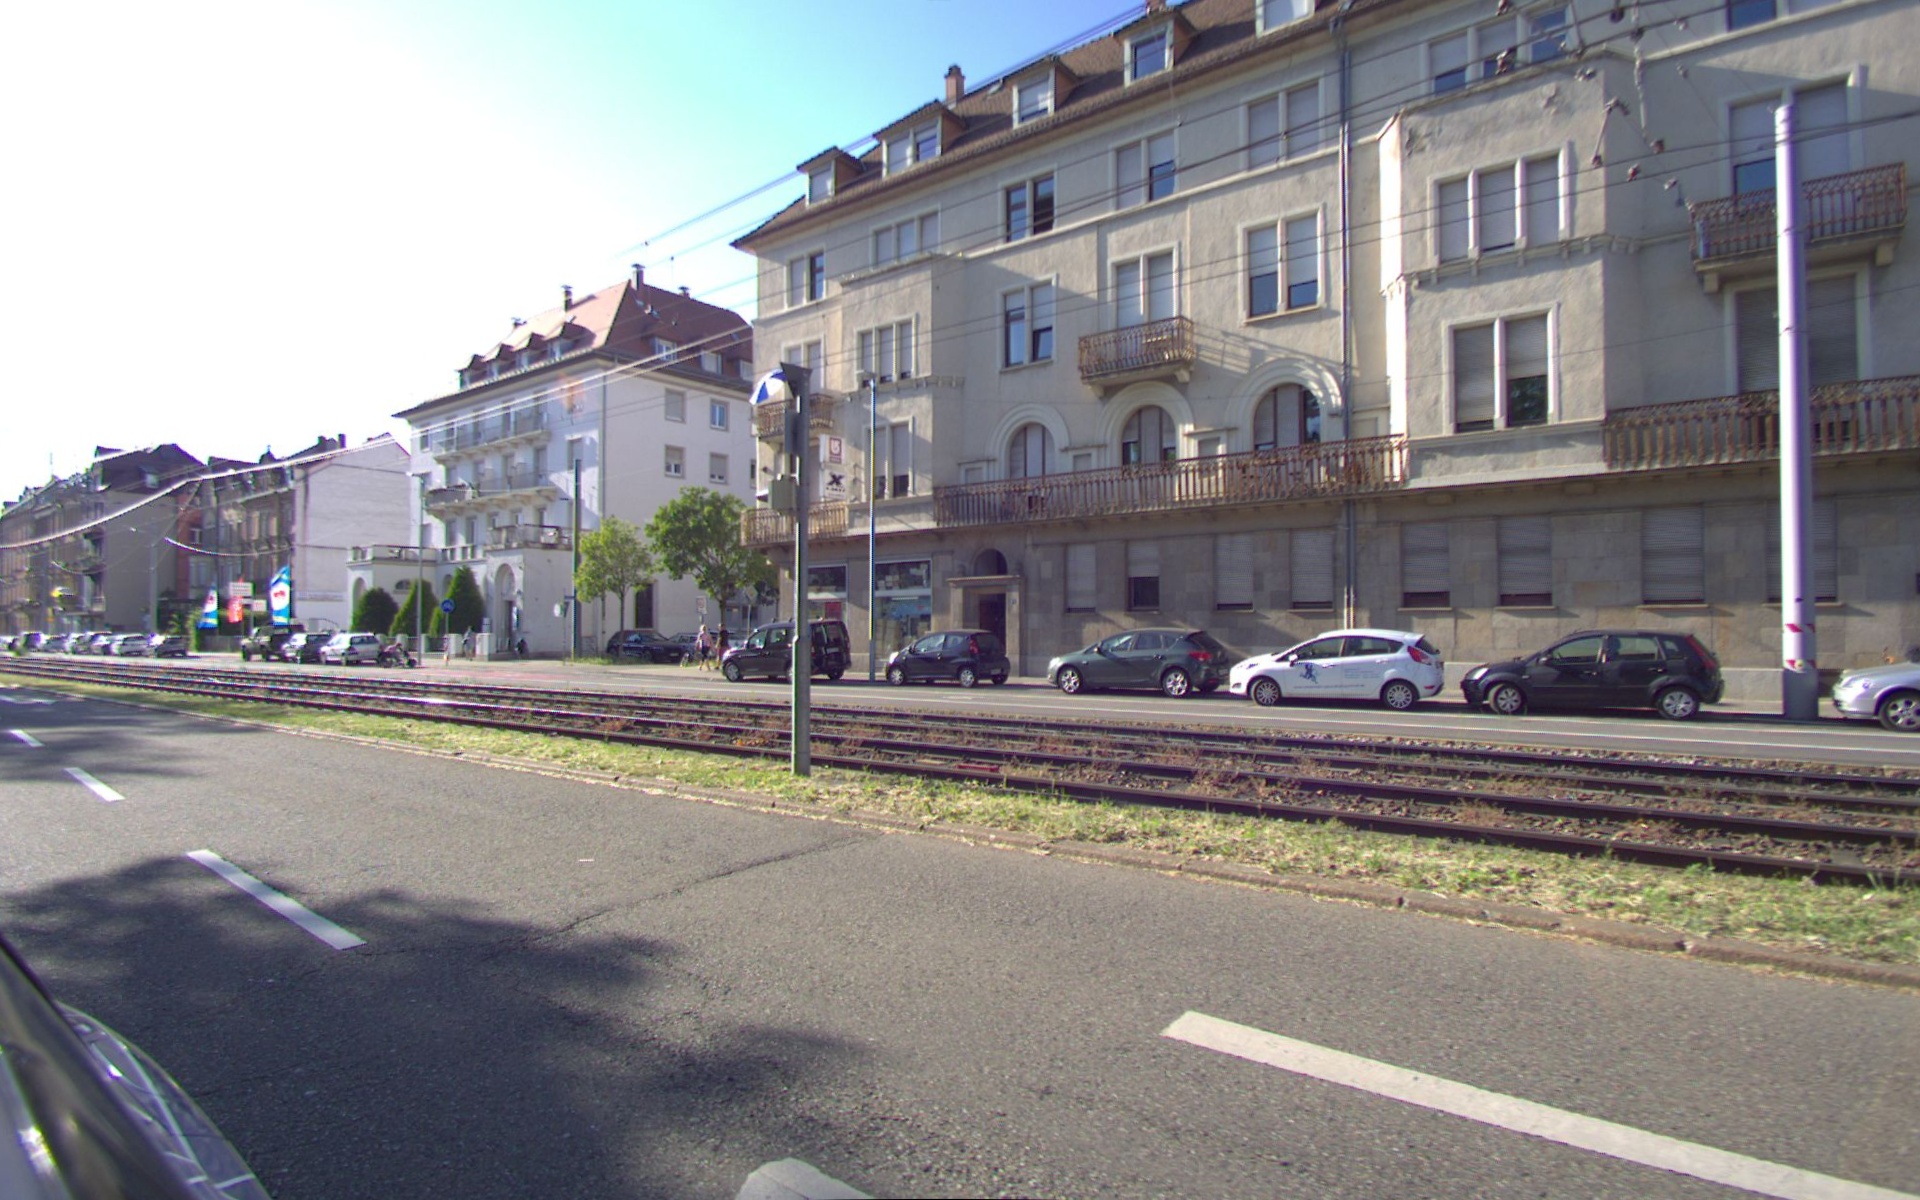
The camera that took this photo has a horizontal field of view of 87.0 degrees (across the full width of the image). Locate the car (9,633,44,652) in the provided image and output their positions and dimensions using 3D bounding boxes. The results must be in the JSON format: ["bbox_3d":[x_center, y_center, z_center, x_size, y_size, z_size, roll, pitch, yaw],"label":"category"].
[{"bbox_3d":[-90.089,4.094,97.634,4.720,1.821,1.644,-2,-1,37],"label":"car"}]

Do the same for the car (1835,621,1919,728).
[{"bbox_3d":[15.079,1.021,14.173,4.154,1.480,1.619,-3,-2,39],"label":"car"}]

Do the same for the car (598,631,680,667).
[{"bbox_3d":[-15.999,2.396,50.374,4.256,1.653,1.777,0,-2,38],"label":"car"}]

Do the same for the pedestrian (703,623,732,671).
[{"bbox_3d":[-8.857,1.704,36.978,0.856,1.709,0.583,-1,0,38],"label":"pedestrian"}]

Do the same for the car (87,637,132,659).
[{"bbox_3d":[-66.240,3.745,78.778,4.839,1.572,1.901,-2,0,41],"label":"car"}]

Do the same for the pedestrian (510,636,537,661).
[{"bbox_3d":[-21.878,2.433,50.740,0.892,1.196,0.870,-1,0,30],"label":"pedestrian"}]

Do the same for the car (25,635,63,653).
[{"bbox_3d":[-85.016,4.054,93.892,4.621,1.550,1.902,-2,-1,39],"label":"car"}]

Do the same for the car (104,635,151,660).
[{"bbox_3d":[-61.769,3.506,75.030,4.839,1.707,1.901,-2,-1,41],"label":"car"}]

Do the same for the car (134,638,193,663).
[{"bbox_3d":[-54.498,3.438,69.204,4.833,1.471,1.904,-2,3,37],"label":"car"}]

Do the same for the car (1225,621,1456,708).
[{"bbox_3d":[7.393,1.224,19.796,3.970,1.480,1.623,-2,0,32],"label":"car"}]

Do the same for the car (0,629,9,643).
[{"bbox_3d":[-102.890,3.906,107.883,3.976,1.457,1.644,-2,-1,39],"label":"car"}]

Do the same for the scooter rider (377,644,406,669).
[{"bbox_3d":[-25.266,2.518,44.981,0.962,1.097,0.810,1,-3,-21],"label":"scooter rider"}]

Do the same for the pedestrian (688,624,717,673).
[{"bbox_3d":[-9.235,1.712,36.274,0.856,1.709,0.583,-1,0,38],"label":"pedestrian"}]

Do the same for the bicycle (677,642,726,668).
[{"bbox_3d":[-10.796,2.283,42.213,2.411,1.023,0.677,-2,-1,41],"label":"bicycle"}]

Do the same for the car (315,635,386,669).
[{"bbox_3d":[-30.028,2.516,49.839,3.996,1.522,1.776,-1,0,40],"label":"car"}]

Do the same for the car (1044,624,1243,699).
[{"bbox_3d":[4.104,1.355,22.998,4.153,1.480,1.620,-2,1,38],"label":"car"}]

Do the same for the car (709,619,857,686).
[{"bbox_3d":[-5.321,1.540,30.176,4.394,1.800,1.845,-3,-1,38],"label":"car"}]

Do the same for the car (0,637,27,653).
[{"bbox_3d":[-94.441,4.493,100.813,3.976,1.457,1.644,-2,-1,39],"label":"car"}]

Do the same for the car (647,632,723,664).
[{"bbox_3d":[-14.423,2.502,52.941,3.995,1.522,1.777,0,-2,38],"label":"car"}]

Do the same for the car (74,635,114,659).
[{"bbox_3d":[-70.628,3.835,82.544,4.497,1.794,1.900,-2,-1,42],"label":"car"}]

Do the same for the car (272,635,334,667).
[{"bbox_3d":[-34.460,2.626,53.056,4.156,1.518,1.618,-1,0,40],"label":"car"}]

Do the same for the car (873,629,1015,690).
[{"bbox_3d":[-0.455,1.550,26.850,3.503,1.401,1.612,-2,1,37],"label":"car"}]

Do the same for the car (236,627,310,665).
[{"bbox_3d":[-39.015,2.575,57.399,5.587,2.025,2.056,-2,-1,40],"label":"car"}]

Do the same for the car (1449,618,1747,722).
[{"bbox_3d":[10.895,1.154,17.507,4.149,1.479,1.621,-2,3,35],"label":"car"}]

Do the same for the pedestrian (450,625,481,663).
[{"bbox_3d":[-24.313,2.156,49.777,0.929,1.791,0.987,-1,0,24],"label":"pedestrian"}]

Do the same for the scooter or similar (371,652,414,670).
[{"bbox_3d":[-25.228,2.717,44.989,1.542,0.776,0.810,1,-3,-20],"label":"scooter or similar"}]

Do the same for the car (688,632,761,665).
[{"bbox_3d":[-12.780,2.596,54.847,3.995,1.671,1.777,0,-2,38],"label":"car"}]
